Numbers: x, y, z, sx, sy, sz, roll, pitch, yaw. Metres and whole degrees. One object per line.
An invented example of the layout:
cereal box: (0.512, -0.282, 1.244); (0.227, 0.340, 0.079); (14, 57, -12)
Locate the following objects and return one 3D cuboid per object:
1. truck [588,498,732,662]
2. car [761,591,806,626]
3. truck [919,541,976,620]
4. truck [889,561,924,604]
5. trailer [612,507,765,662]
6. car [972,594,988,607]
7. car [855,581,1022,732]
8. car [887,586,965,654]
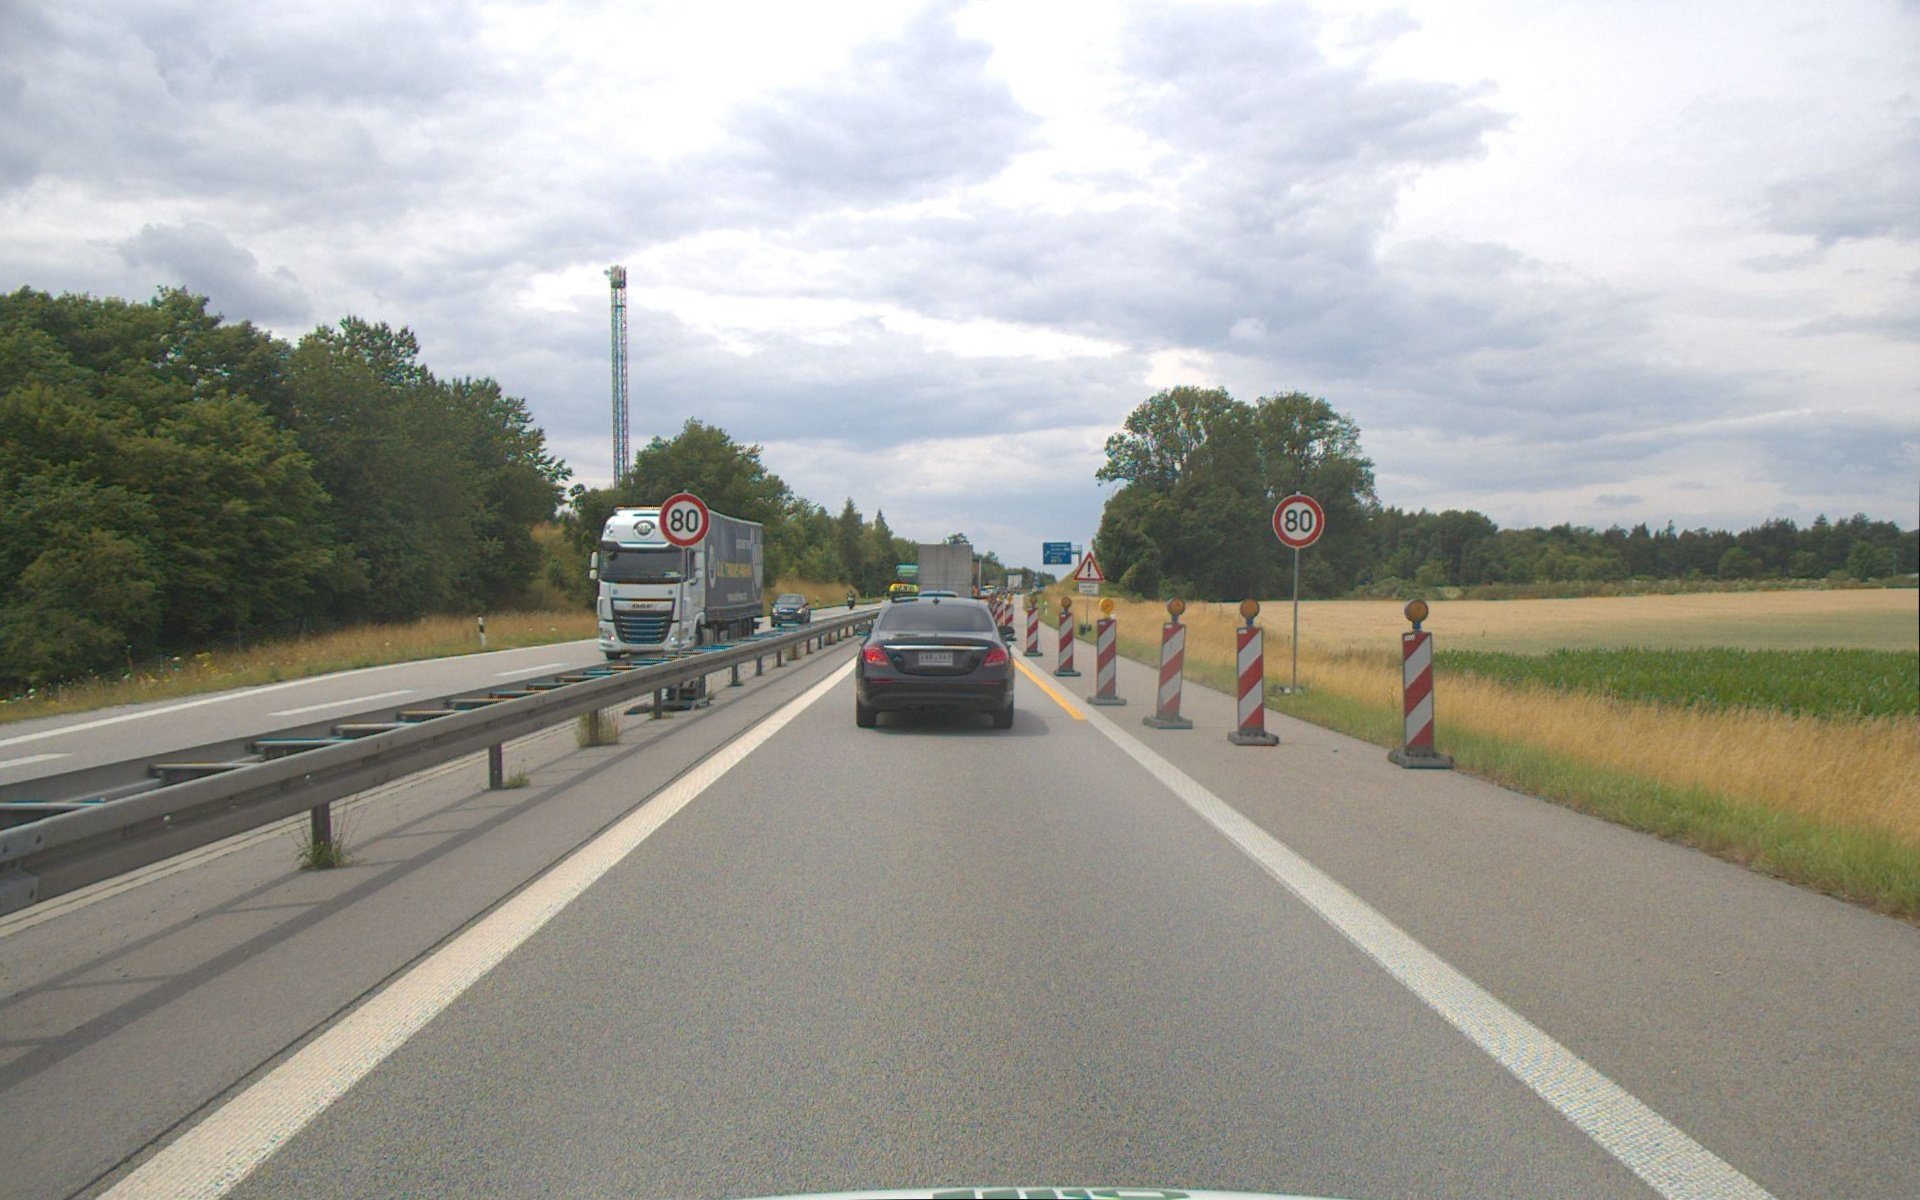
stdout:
truck: (-8.299, -0.489, 46.644); (2.742, 4.214, 7.227); (1, -1, -1)
car: (-9.047, 0.451, 85.066); (1.953, 1.713, 4.232); (1, 0, -1)
truck: (-0.632, -0.861, 78.259); (2.534, 3.586, 4.811); (1, -1, -1)
truck: (-5.584, -1.787, 173.953); (3.058, 4.287, 6.783); (1, -1, 3)
trailer: (-8.349, -0.381, 52.809); (2.742, 4.246, 13.561); (1, 0, -1)
car: (2.309, 0.096, 191.472); (1.616, 1.420, 3.702); (1, 0, -4)
car: (-0.290, 0.624, 19.688); (1.759, 1.587, 3.998); (1, 0, -2)
car: (-1.132, 0.630, 52.462); (1.956, 2.049, 3.992); (1, -1, -9)
